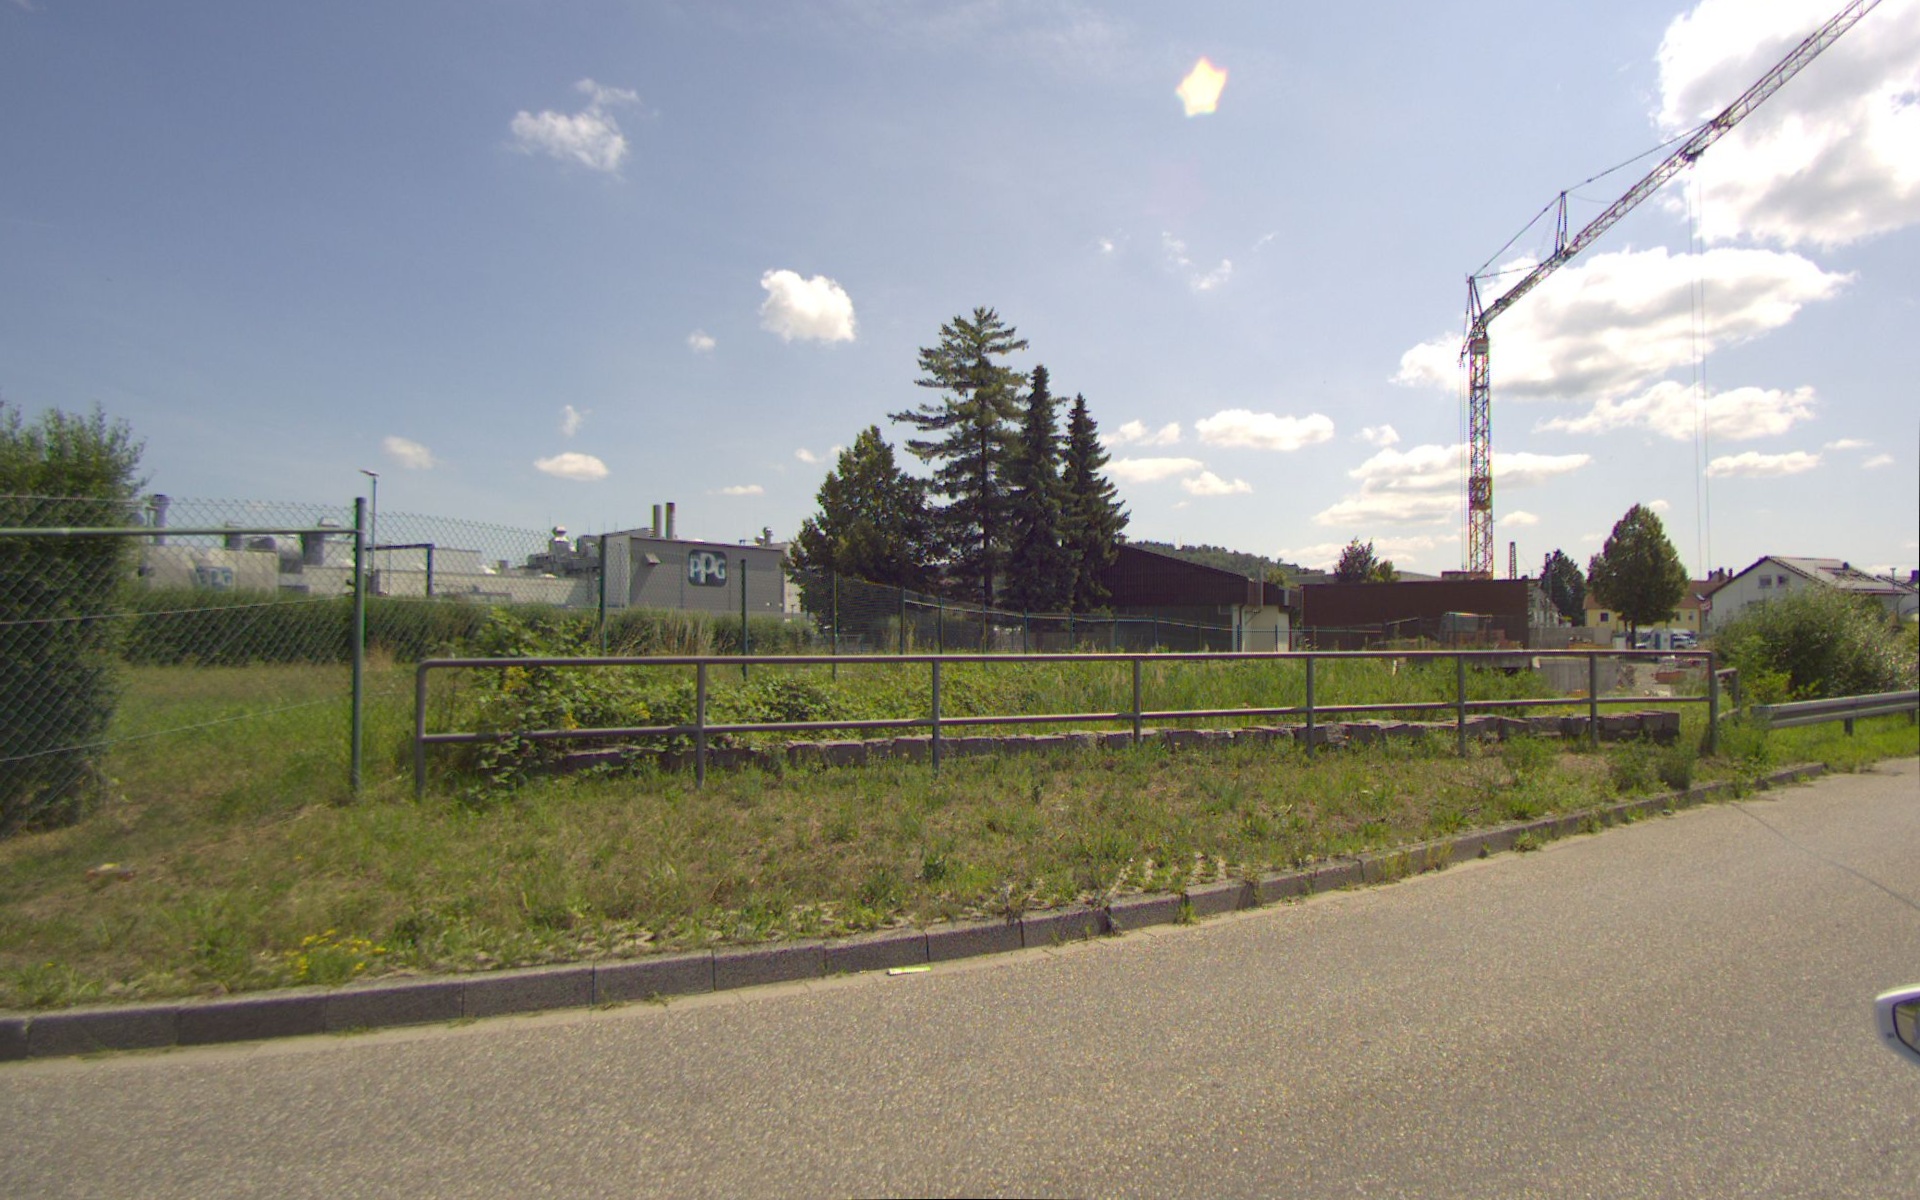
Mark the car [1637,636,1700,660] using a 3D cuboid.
[{"bbox_3d":[61.659,4.147,87.511,4.333,2.040,1.997,0,-2,29],"label":"car"}]
